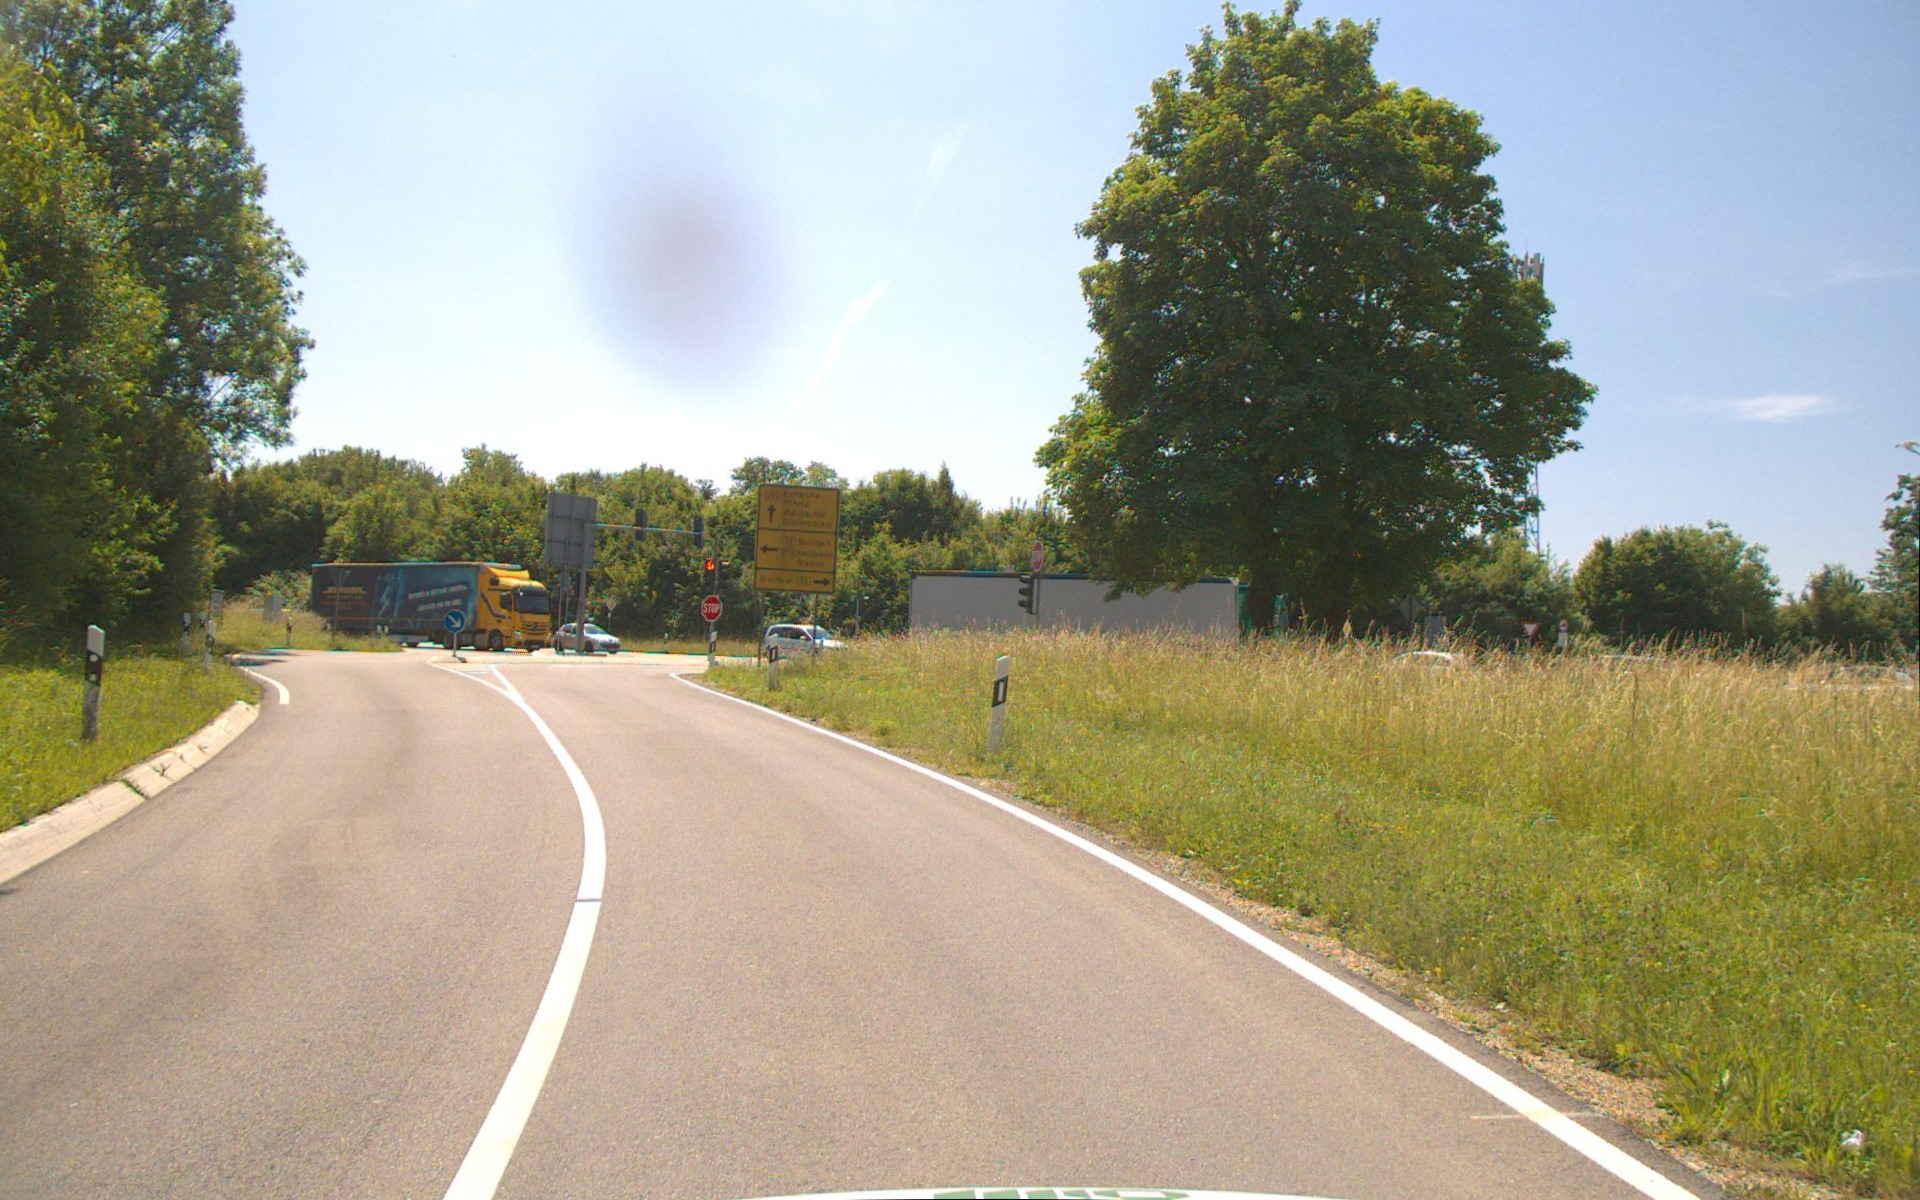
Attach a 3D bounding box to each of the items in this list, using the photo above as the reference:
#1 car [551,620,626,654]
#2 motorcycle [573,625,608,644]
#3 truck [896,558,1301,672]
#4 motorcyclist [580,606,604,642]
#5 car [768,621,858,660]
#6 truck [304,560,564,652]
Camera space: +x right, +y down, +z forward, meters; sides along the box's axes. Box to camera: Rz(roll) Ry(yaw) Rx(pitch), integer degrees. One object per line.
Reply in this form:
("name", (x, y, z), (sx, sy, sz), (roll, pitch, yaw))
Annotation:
("car", (-18.224, 1.776, 81.131), (3.842, 1.603, 1.650), (0, -1, 41))
("motorcycle", (-19.627, 1.838, 87.817), (1.831, 0.980, 0.729), (-1, -1, 30))
("truck", (5.634, 0.632, 68.501), (16.285, 4.246, 3.136), (1, -1, 2))
("motorcyclist", (-19.534, 1.282, 87.790), (0.879, 1.876, 0.838), (0, -1, 28))
("car", (-6.333, 1.725, 71.223), (3.613, 1.603, 1.720), (0, -1, 34))
("truck", (-26.592, 0.186, 82.786), (16.469, 4.204, 2.842), (1, -2, 35))
